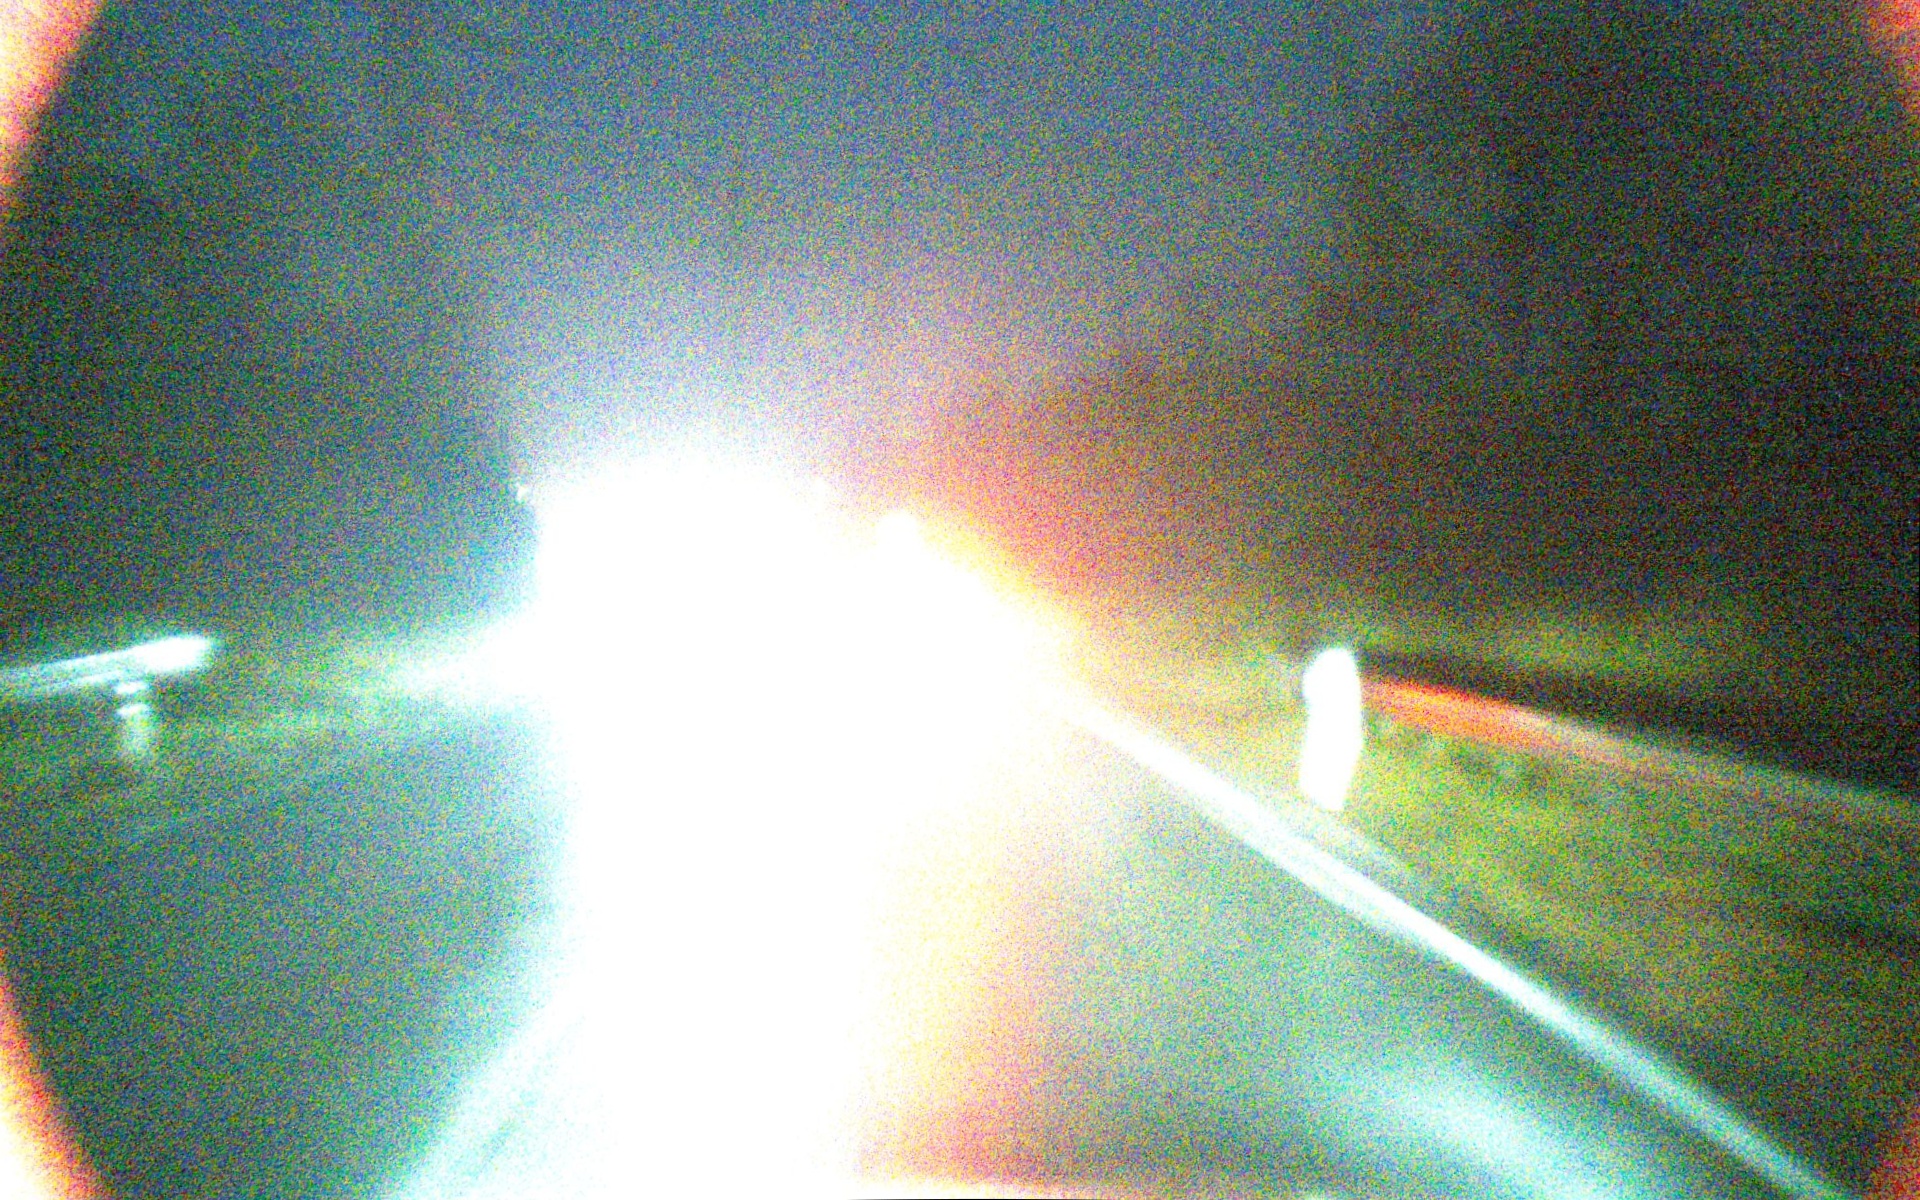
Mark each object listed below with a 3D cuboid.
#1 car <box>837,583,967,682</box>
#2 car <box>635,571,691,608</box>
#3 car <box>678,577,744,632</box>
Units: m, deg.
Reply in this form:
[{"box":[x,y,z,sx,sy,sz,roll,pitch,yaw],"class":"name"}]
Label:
[{"box":[-1.183,0.542,31.157,1.956,1.656,4.976,0,1,-8],"class":"car"},{"box":[-14.987,-0.528,83.352,1.964,1.738,4.956,-2,1,-20],"class":"car"},{"box":[-8.083,0.113,53.339,1.896,1.612,4.972,-2,1,-11],"class":"car"}]
